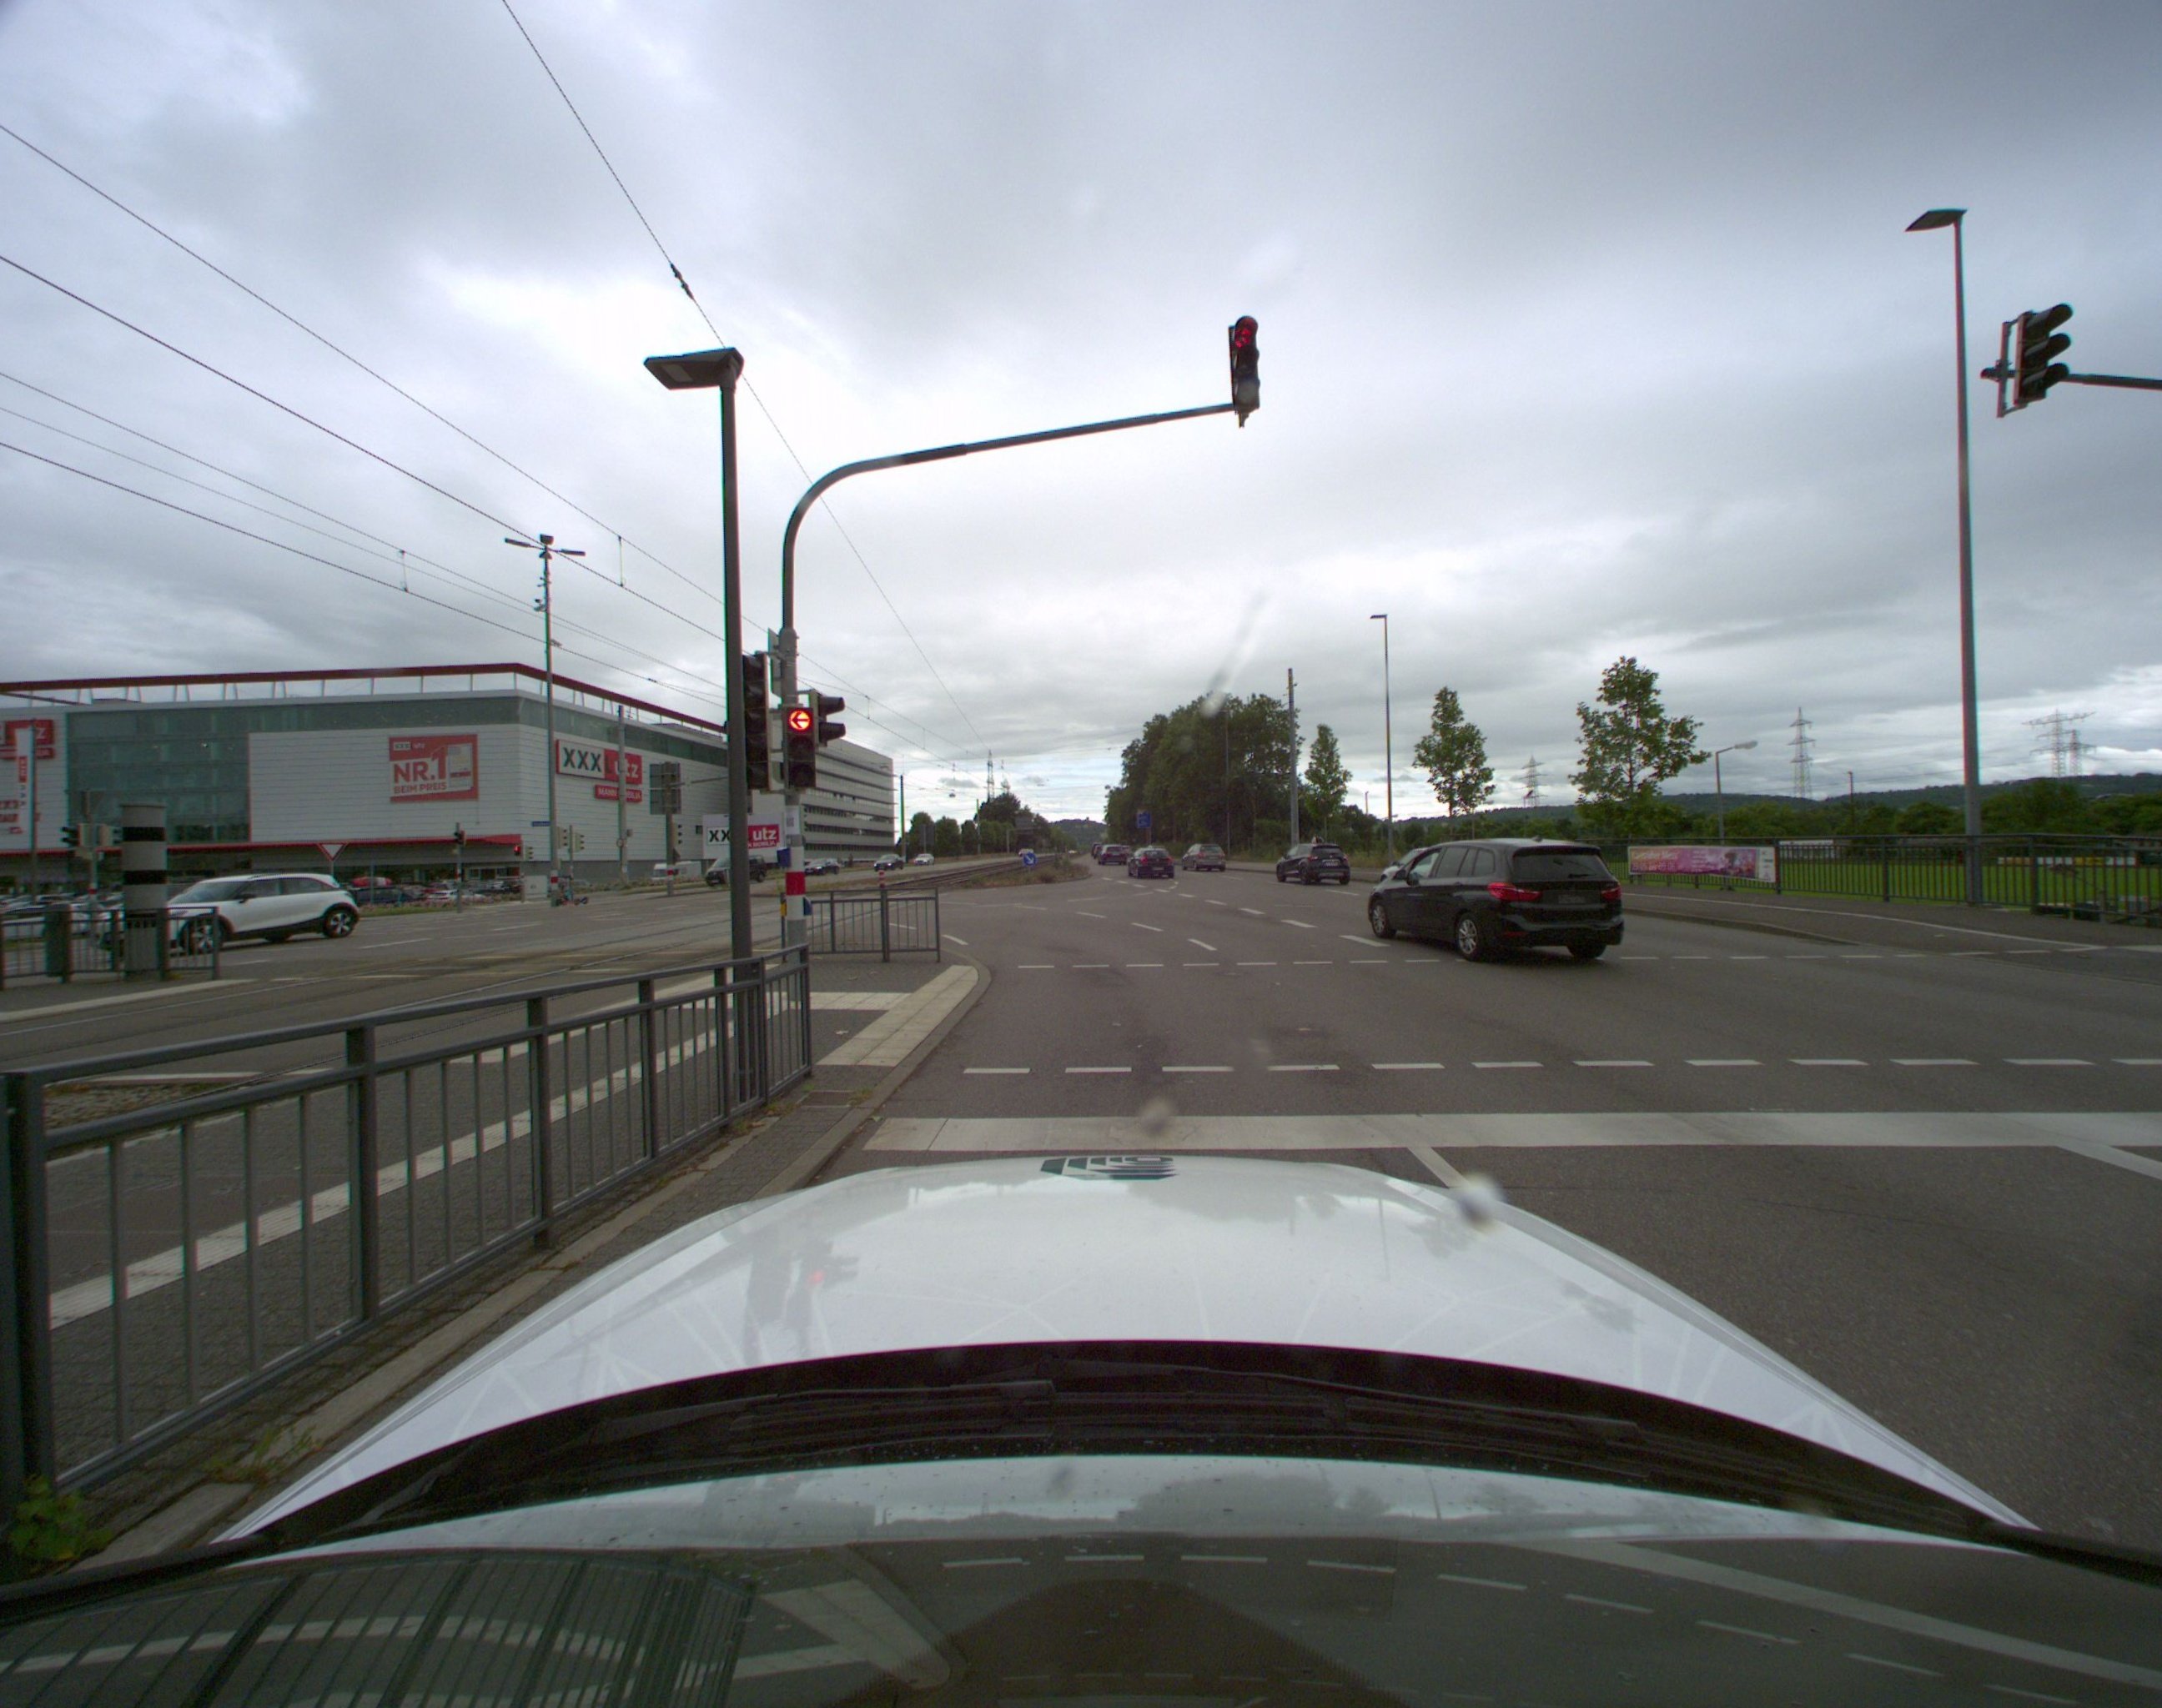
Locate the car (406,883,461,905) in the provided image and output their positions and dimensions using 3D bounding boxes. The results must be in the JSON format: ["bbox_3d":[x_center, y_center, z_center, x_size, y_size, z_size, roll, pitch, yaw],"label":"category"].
[{"bbox_3d":[-63.442,3.925,79.850,1.805,1.818,4.008,-3,0,6],"label":"car"}]

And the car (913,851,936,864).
[{"bbox_3d":[-19.274,0.455,100.375,1.720,1.539,4.050,0,0,4],"label":"car"}]

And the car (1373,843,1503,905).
[{"bbox_3d":[9.459,0.461,21.887,1.725,1.509,3.627,0,1,-4],"label":"car"}]

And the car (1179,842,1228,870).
[{"bbox_3d":[7.078,0.129,47.411,1.854,1.561,4.309,1,0,-5],"label":"car"}]

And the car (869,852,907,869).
[{"bbox_3d":[-17.505,0.610,74.119,1.820,1.464,4.218,0,0,9],"label":"car"}]

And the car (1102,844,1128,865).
[{"bbox_3d":[2.480,0.078,59.933,1.809,1.480,3.671,0,-1,0],"label":"car"}]

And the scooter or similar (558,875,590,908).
[{"bbox_3d":[-20.828,1.524,33.474,0.317,1.255,1.121,-4,0,17],"label":"scooter or similar"}]

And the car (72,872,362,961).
[{"bbox_3d":[-19.017,1.296,18.260,1.783,1.585,4.149,-4,-1,5],"label":"car"}]

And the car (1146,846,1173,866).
[{"bbox_3d":[6.094,0.144,63.538,1.809,1.480,3.671,0,-1,0],"label":"car"}]

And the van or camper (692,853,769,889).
[{"bbox_3d":[-23.178,1.076,54.114,2.102,2.013,4.771,-5,1,13],"label":"van or camper"}]

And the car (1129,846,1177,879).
[{"bbox_3d":[3.328,0.364,38.176,1.743,1.431,3.370,0,1,-4],"label":"car"}]

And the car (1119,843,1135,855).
[{"bbox_3d":[6.063,-0.650,107.454,1.809,1.480,3.671,0,-1,0],"label":"car"}]

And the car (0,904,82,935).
[{"bbox_3d":[-64.986,4.056,50.136,1.799,1.643,4.010,-3,0,9],"label":"car"}]

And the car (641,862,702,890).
[{"bbox_3d":[-45.255,2.380,90.257,2.746,2.989,6.960,0,-1,5],"label":"car"}]

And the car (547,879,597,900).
[{"bbox_3d":[-46.203,3.225,73.996,1.873,1.665,4.001,-2,0,1],"label":"car"}]

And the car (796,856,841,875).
[{"bbox_3d":[-21.525,0.898,66.971,1.953,1.464,4.329,-1,0,6],"label":"car"}]

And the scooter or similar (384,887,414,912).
[{"bbox_3d":[-36.452,2.434,43.526,1.170,1.233,0.342,-3,-2,-35],"label":"scooter or similar"}]

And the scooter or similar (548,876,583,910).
[{"bbox_3d":[-20.352,1.535,32.164,0.459,1.255,1.023,-4,0,17],"label":"scooter or similar"}]

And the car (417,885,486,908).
[{"bbox_3d":[-49.268,3.281,63.832,1.731,1.476,4.218,-3,0,6],"label":"car"}]

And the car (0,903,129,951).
[{"bbox_3d":[-42.982,3.019,33.746,4.174,1.752,1.989,0,-1,-16],"label":"car"}]

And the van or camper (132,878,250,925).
[{"bbox_3d":[-64.341,3.360,59.024,1.971,2.983,5.416,-3,0,12],"label":"van or camper"}]

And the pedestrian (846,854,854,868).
[{"bbox_3d":[-26.366,0.802,93.014,0.678,1.689,0.561,0,-1,5],"label":"pedestrian"}]

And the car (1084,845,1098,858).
[{"bbox_3d":[1.383,-0.358,113.300,1.809,1.695,3.999,0,-1,0],"label":"car"}]

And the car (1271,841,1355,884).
[{"bbox_3d":[8.998,0.327,31.912,1.852,1.561,4.312,1,0,-3],"label":"car"}]

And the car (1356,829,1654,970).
[{"bbox_3d":[5.823,0.533,11.912,1.829,1.636,4.309,-1,0,-5],"label":"car"}]

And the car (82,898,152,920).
[{"bbox_3d":[-92.262,5.222,78.035,1.773,1.820,4.004,-3,-1,4],"label":"car"}]

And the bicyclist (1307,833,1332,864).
[{"bbox_3d":[11.720,-0.271,40.062,0.816,1.478,0.997,-3,2,-9],"label":"bicyclist"}]

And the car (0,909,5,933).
[{"bbox_3d":[-69.912,4.315,50.155,1.800,1.455,4.006,-3,-1,5],"label":"car"}]

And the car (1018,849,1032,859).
[{"bbox_3d":[-10.264,0.038,148.860,1.985,1.728,4.003,0,0,3],"label":"car"}]

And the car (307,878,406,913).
[{"bbox_3d":[-52.556,2.972,59.244,2.103,2.165,5.065,-3,0,9],"label":"car"}]
